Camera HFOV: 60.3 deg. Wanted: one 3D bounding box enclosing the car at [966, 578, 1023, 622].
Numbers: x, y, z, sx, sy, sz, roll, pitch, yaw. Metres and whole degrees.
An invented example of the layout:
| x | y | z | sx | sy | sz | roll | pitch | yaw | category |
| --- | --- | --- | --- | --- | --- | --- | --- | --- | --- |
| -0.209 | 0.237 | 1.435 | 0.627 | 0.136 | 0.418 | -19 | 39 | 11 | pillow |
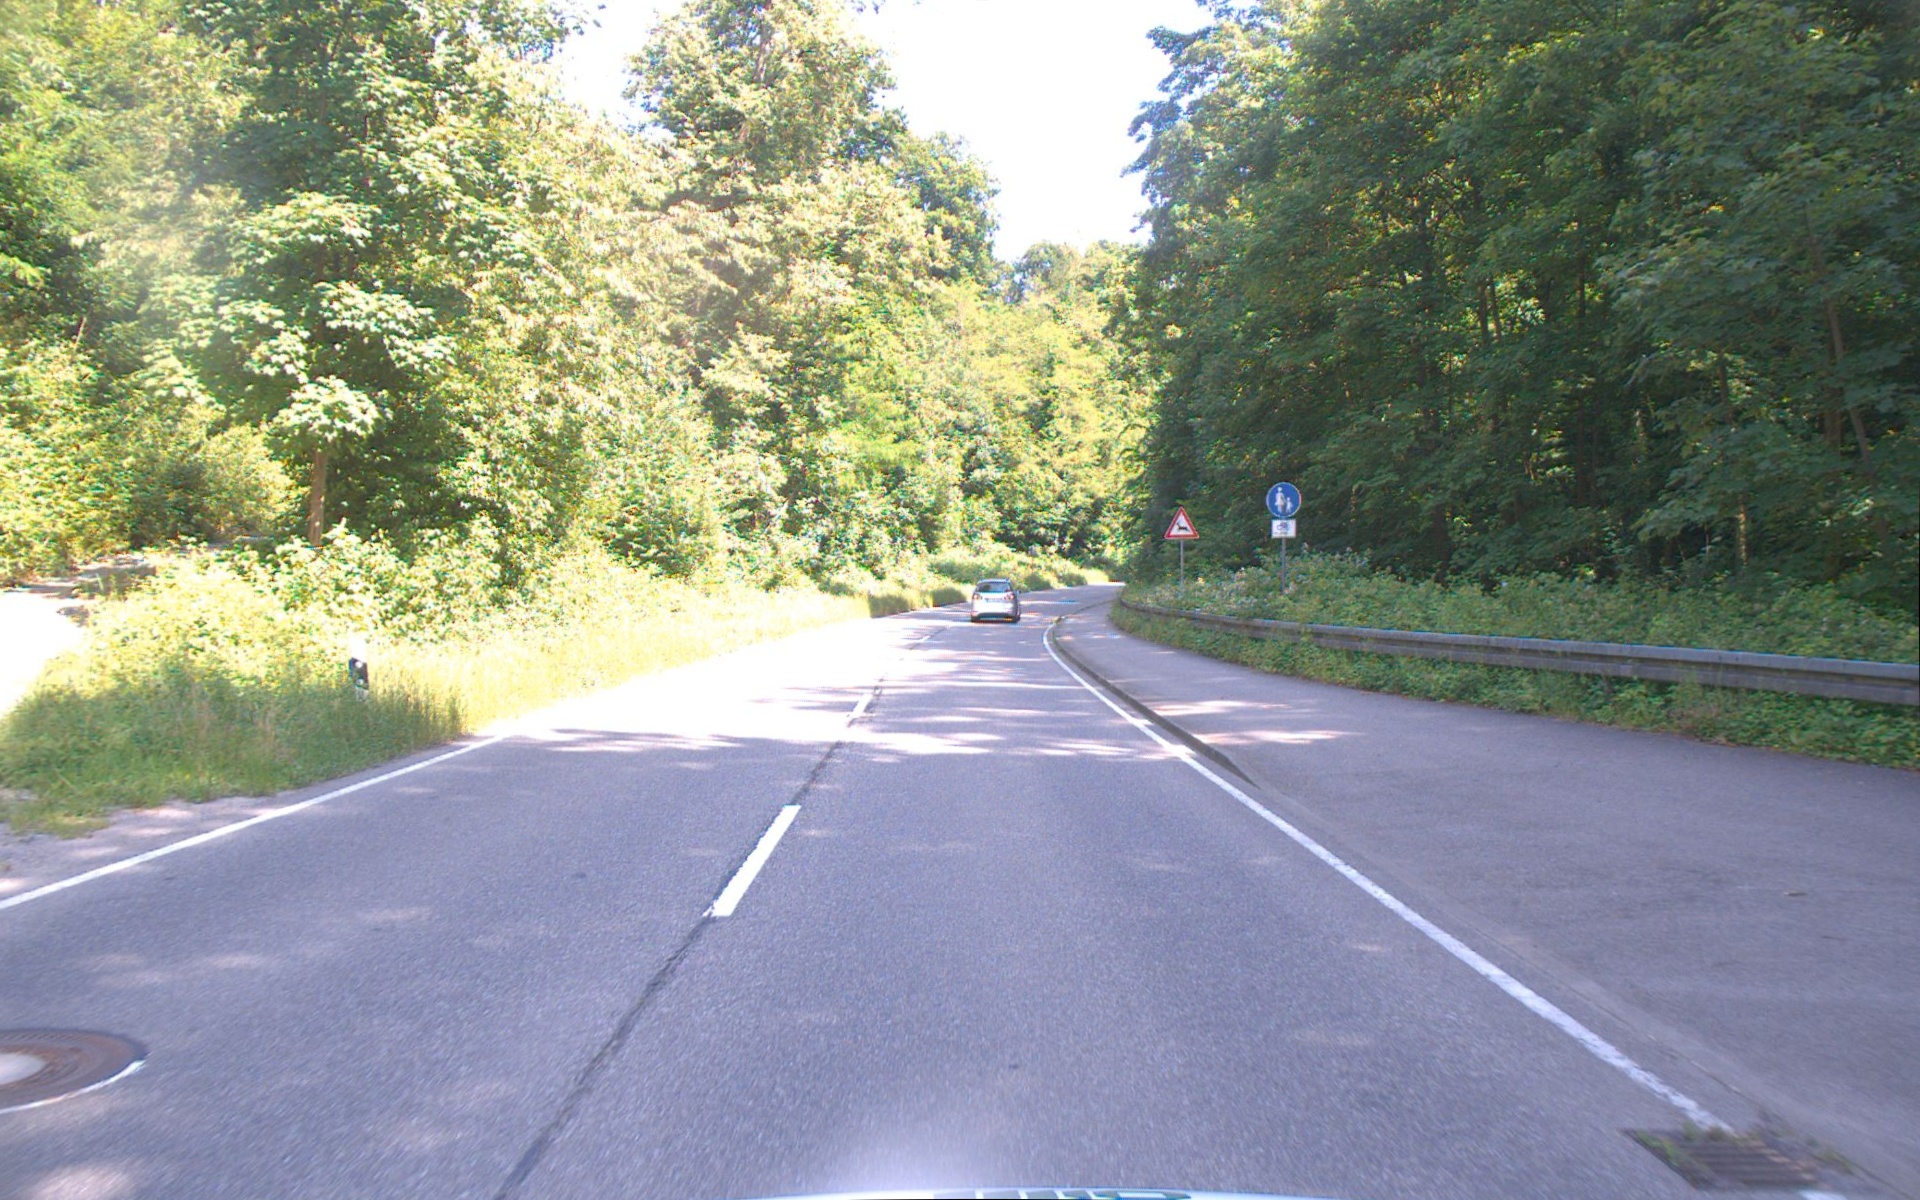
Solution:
| x | y | z | sx | sy | sz | roll | pitch | yaw | category |
| --- | --- | --- | --- | --- | --- | --- | --- | --- | --- |
| 1.297 | -0.032 | 60.871 | 1.714 | 1.546 | 4.162 | 1 | 1 | 6 | car |
